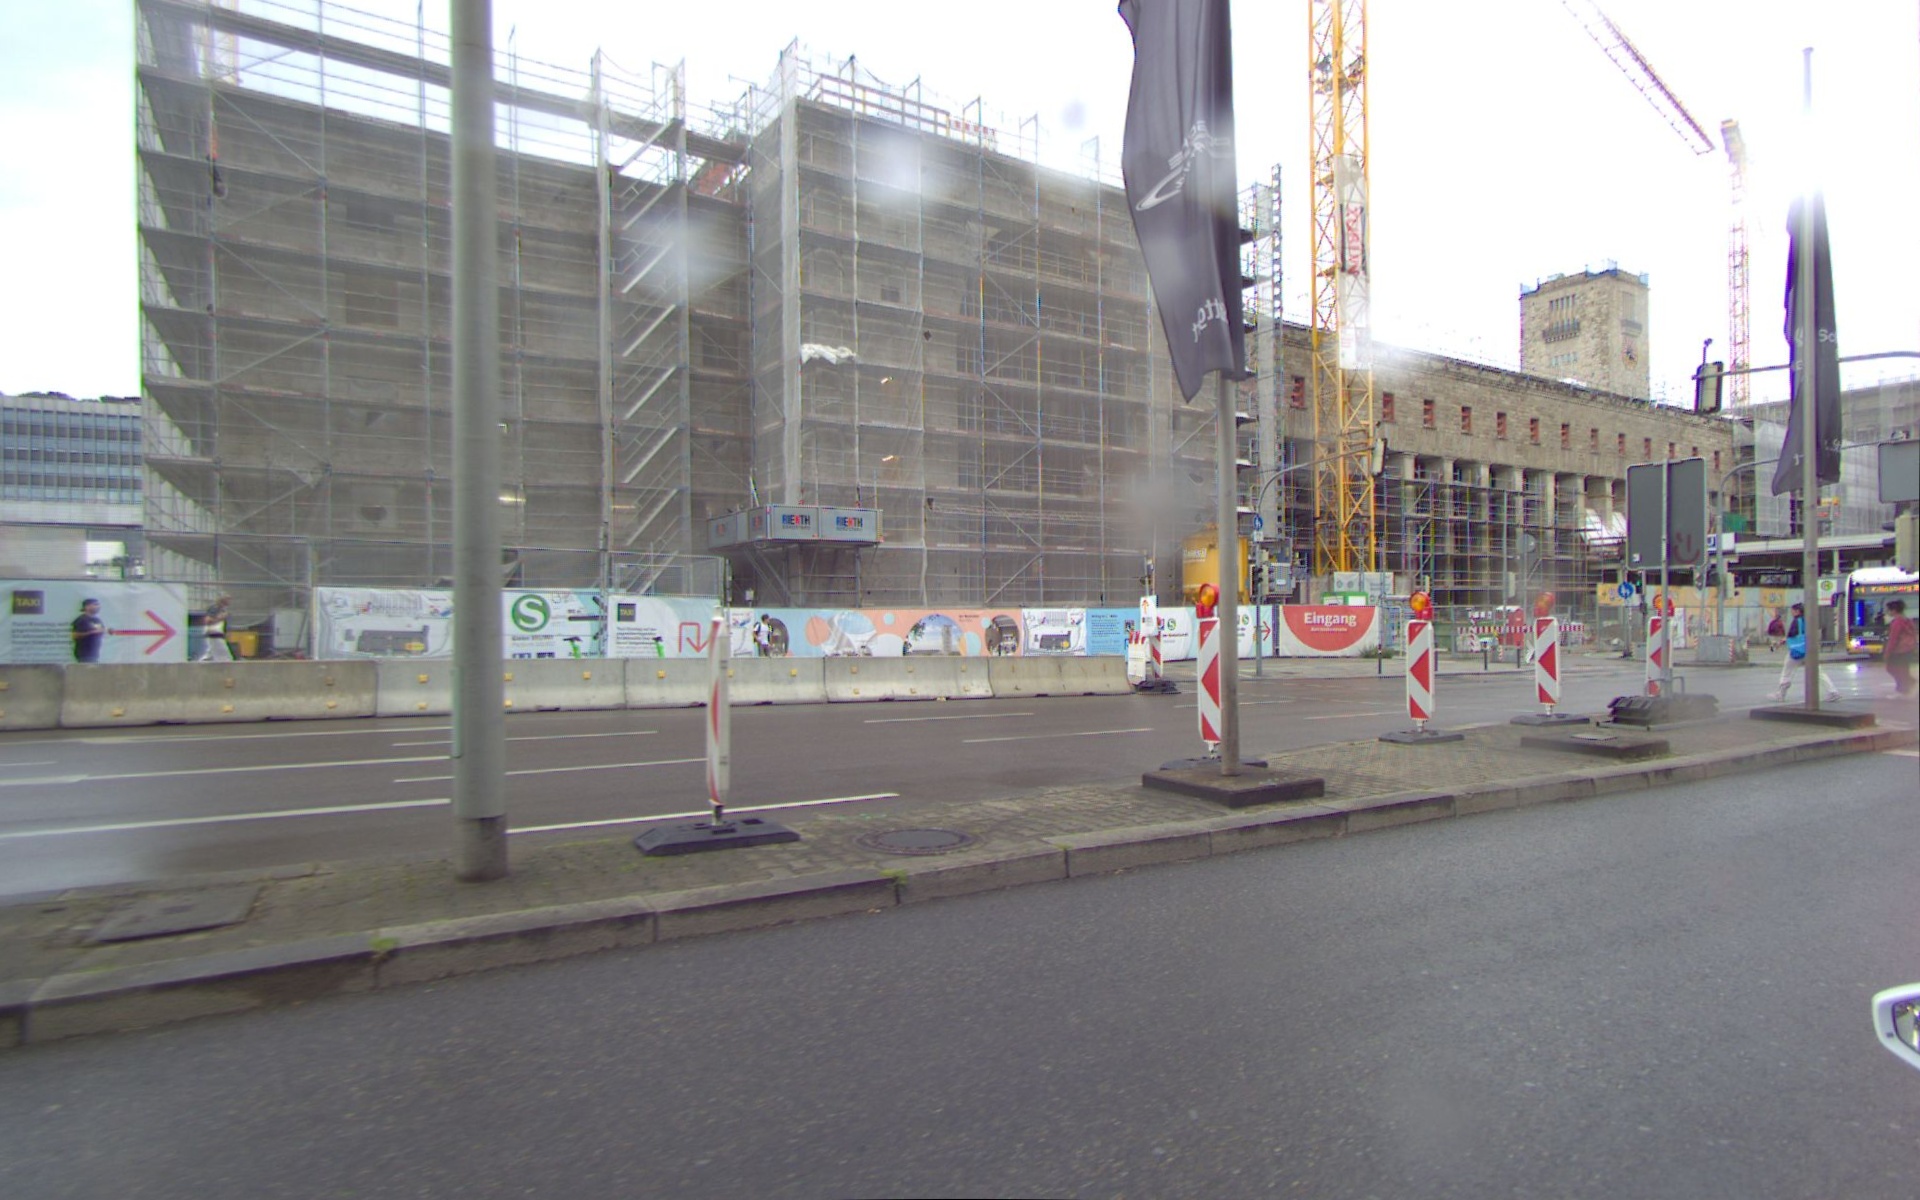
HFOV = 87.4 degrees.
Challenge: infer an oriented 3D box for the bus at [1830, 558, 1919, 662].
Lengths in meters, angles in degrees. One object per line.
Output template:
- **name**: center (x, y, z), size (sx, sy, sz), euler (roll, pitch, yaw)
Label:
- **bus**: center (37.461, 0.445, 38.803), size (10.119, 3.650, 2.655), euler (1, 0, -30)

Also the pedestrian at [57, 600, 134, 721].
- **pedestrian**: center (-13.807, 0.948, 16.061), size (0.810, 1.860, 0.576), euler (1, 0, -30)

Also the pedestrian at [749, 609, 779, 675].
- **pedestrian**: center (-5.633, 1.198, 28.832), size (0.709, 1.860, 0.478), euler (1, 0, -30)

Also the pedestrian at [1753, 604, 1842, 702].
- **pedestrian**: center (14.054, 0.866, 16.865), size (0.890, 1.584, 0.909), euler (1, 0, -33)

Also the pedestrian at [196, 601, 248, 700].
- **pedestrian**: center (-14.075, 0.952, 19.171), size (0.709, 1.860, 0.478), euler (1, 0, -30)

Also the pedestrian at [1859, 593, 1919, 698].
- **pedestrian**: center (15.884, 0.766, 17.037), size (0.613, 1.740, 0.794), euler (1, -2, -33)

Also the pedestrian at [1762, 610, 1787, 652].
- **pedestrian**: center (37.383, 1.417, 46.118), size (0.789, 1.879, 0.658), euler (1, -1, -30)
